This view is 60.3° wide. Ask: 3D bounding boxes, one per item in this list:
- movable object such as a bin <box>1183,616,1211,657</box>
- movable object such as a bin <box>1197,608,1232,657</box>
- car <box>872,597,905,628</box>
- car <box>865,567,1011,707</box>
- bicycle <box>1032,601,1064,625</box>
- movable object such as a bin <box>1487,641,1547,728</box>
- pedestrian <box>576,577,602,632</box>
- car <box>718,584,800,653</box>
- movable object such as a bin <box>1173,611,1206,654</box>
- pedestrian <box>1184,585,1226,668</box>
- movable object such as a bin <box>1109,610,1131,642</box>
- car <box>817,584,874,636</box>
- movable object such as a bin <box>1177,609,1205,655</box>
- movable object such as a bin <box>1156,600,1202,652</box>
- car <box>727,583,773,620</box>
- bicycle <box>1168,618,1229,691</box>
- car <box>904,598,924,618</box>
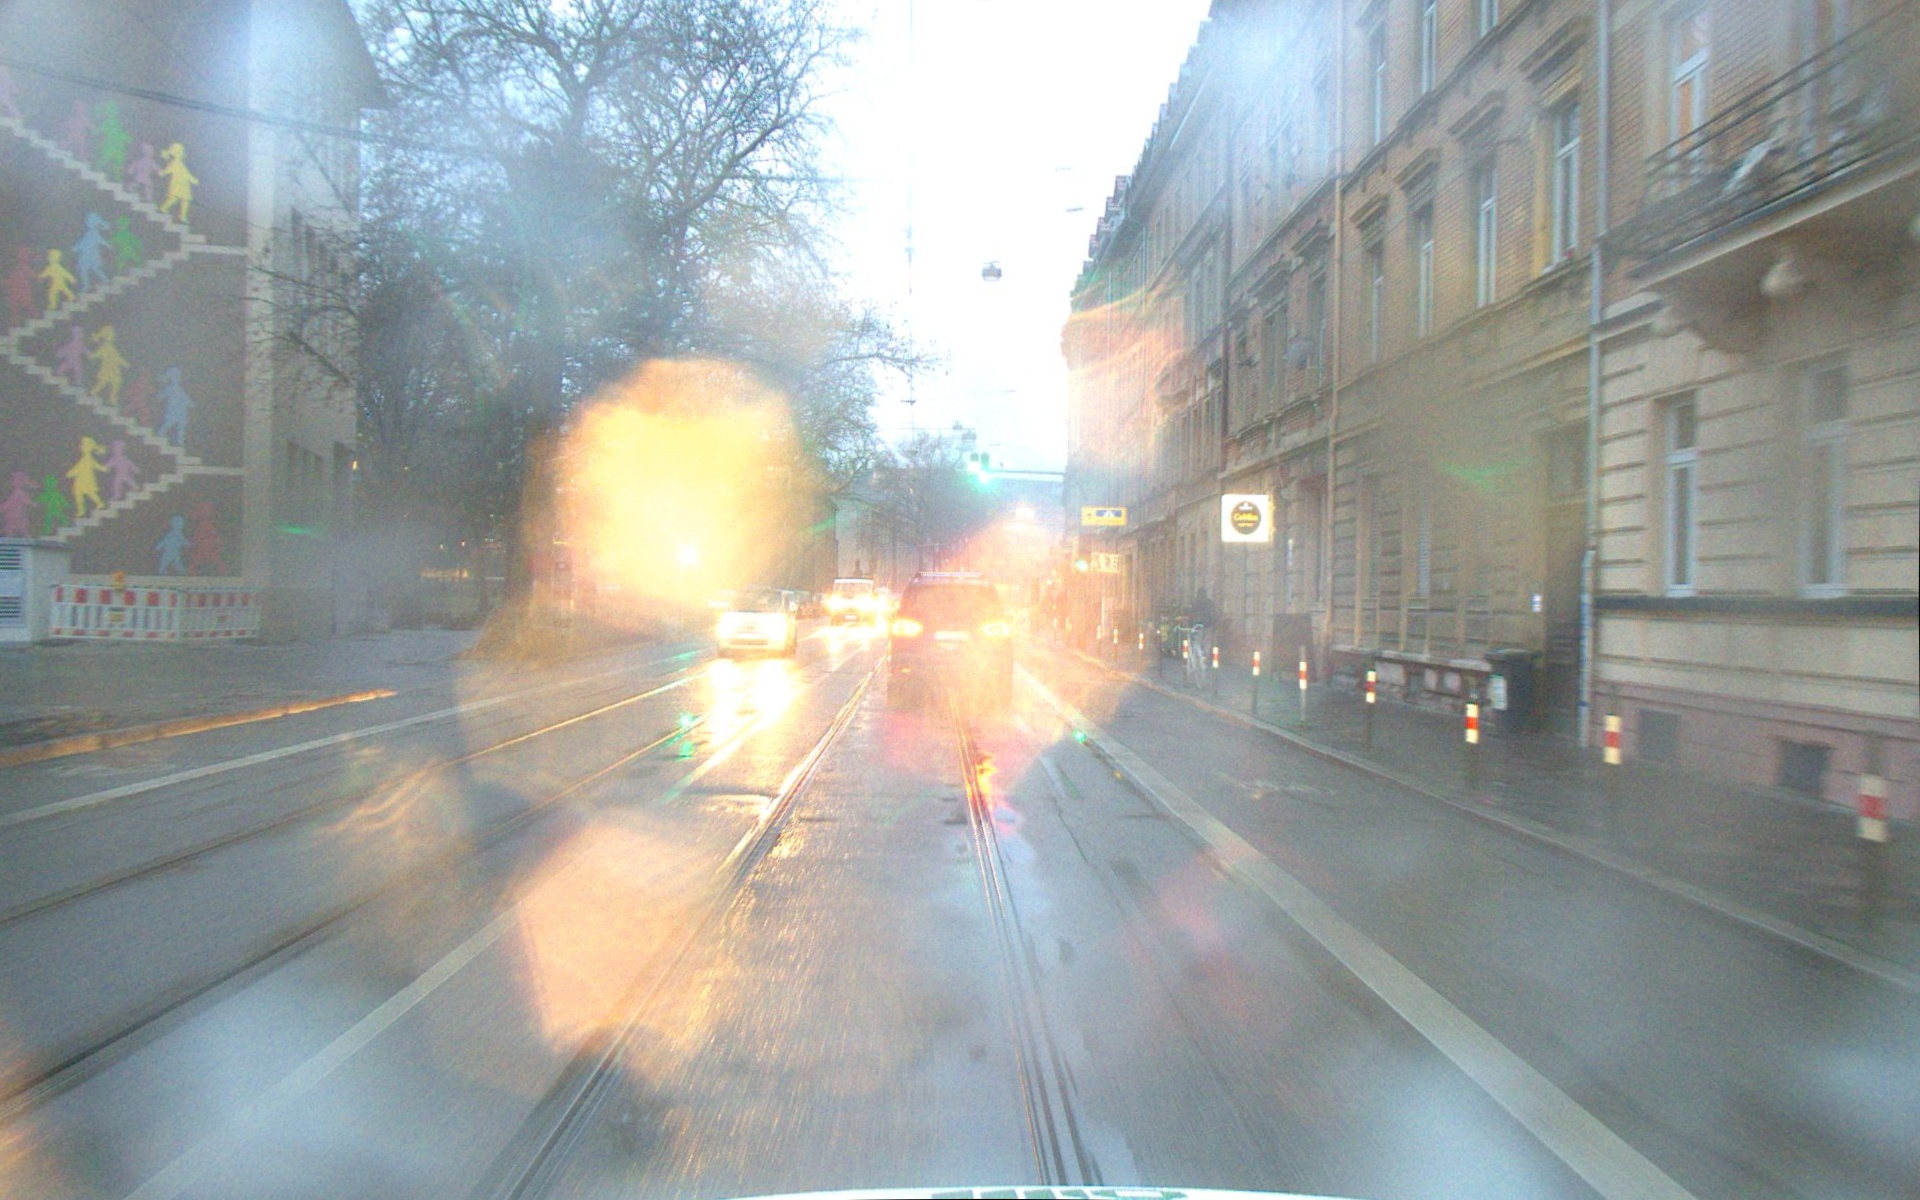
[{"bbox_3d":[5.500,0.847,38.364,0.482,0.945,0.421,0,0,-28],"label":"movable object such as a bin"},{"bbox_3d":[5.833,0.747,37.907,0.604,1.099,0.487,0,0,-29],"label":"movable object such as a bin"},{"bbox_3d":[-4.835,0.847,112.544,1.952,2.049,4.000,1,0,1],"label":"car"},{"bbox_3d":[-0.240,0.507,24.546,1.952,1.874,4.001,1,0,2],"label":"car"},{"bbox_3d":[4.334,0.629,81.715,0.781,1.164,2.230,2,0,-20],"label":"bicycle"},{"bbox_3d":[6.332,0.955,18.814,0.496,0.947,0.507,1,0,-2],"label":"movable object such as a bin"},{"bbox_3d":[-12.557,0.148,56.024,0.806,1.847,1.006,2,-1,-12],"label":"pedestrian"},{"bbox_3d":[-4.616,0.402,38.400,1.499,1.507,3.560,1,0,-1],"label":"car"},{"bbox_3d":[5.737,0.816,41.370,0.748,1.056,0.600,1,0,14],"label":"movable object such as a bin"},{"bbox_3d":[5.219,0.567,35.287,0.817,1.731,0.954,1,-1,7],"label":"pedestrian"},{"bbox_3d":[5.522,0.893,57.120,0.627,1.073,0.744,1,-1,-1],"label":"movable object such as a bin"},{"bbox_3d":[-5.439,0.477,79.424,2.396,2.388,5.843,0,0,-1],"label":"car"},{"bbox_3d":[5.684,0.788,40.704,0.598,1.101,0.600,1,0,14],"label":"movable object such as a bin"},{"bbox_3d":[5.614,0.665,42.459,0.871,1.311,1.260,0,0,-8],"label":"movable object such as a bin"},{"bbox_3d":[-9.893,0.062,78.284,1.945,1.643,4.424,2,0,-5],"label":"car"},{"bbox_3d":[4.058,0.906,28.308,0.670,1.176,2.188,1,0,-1],"label":"bicycle"},{"bbox_3d":[-4.664,0.829,169.216,1.953,2.049,3.999,1,0,-1],"label":"car"}]
